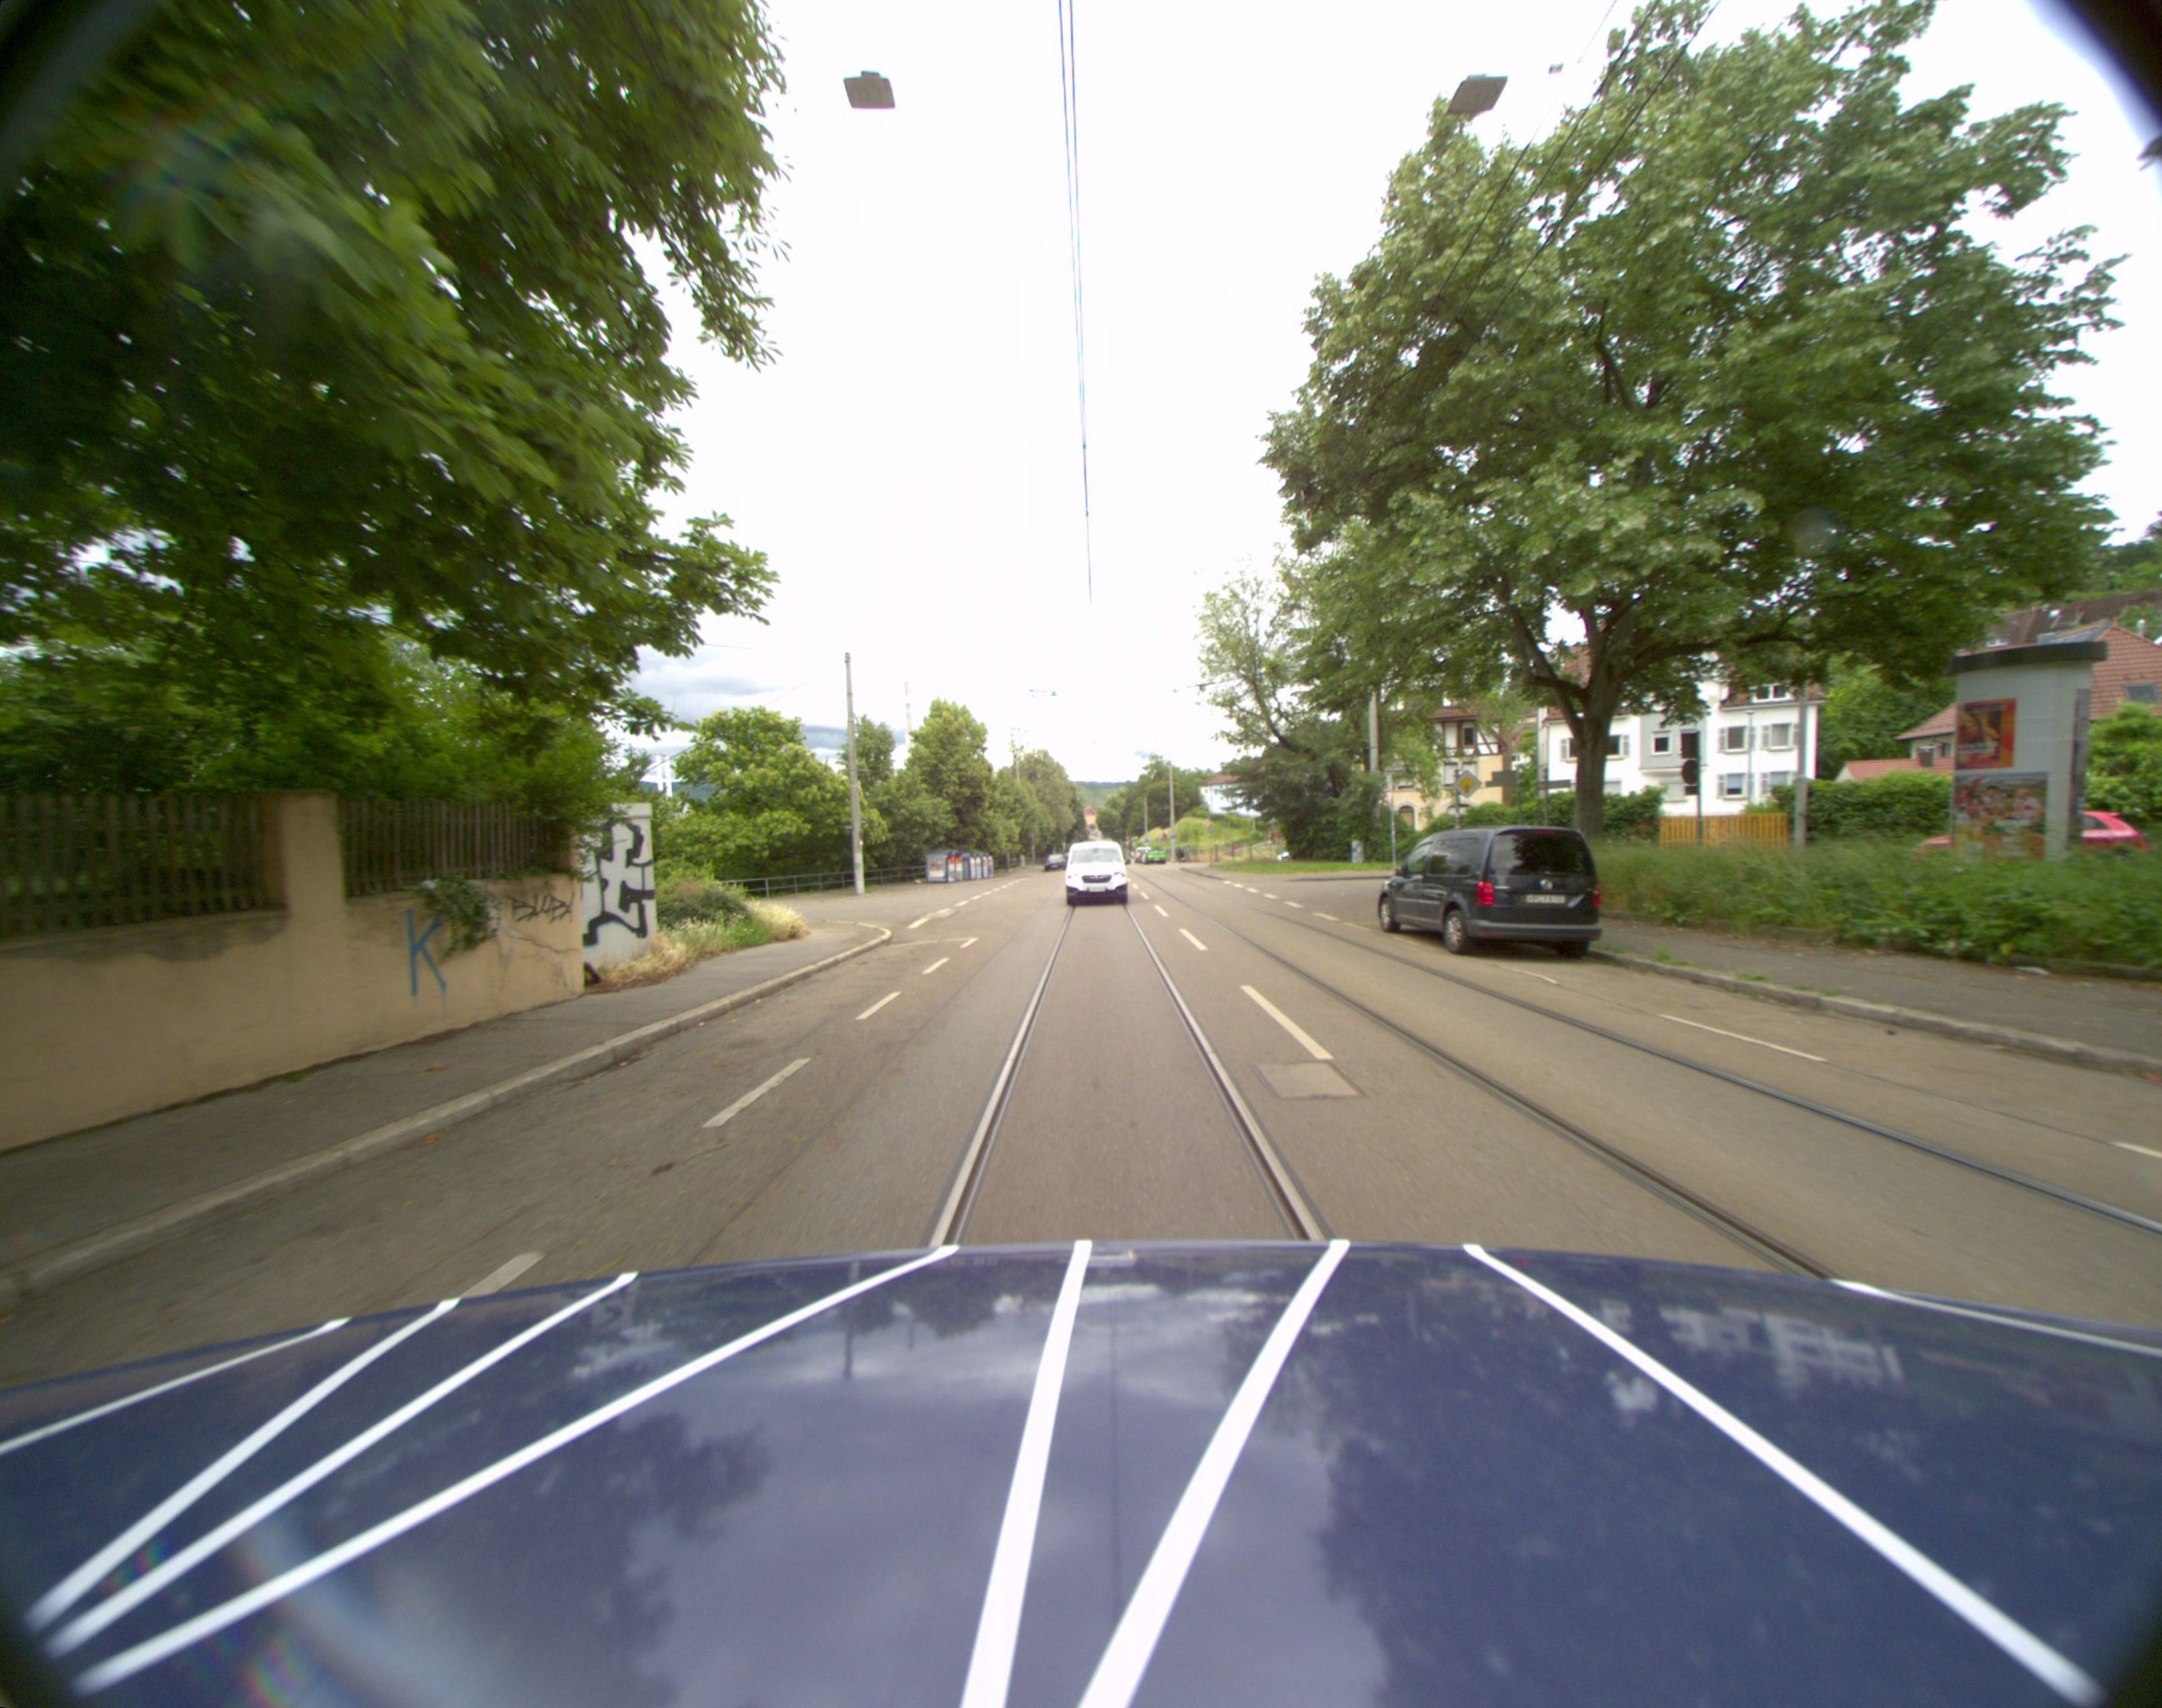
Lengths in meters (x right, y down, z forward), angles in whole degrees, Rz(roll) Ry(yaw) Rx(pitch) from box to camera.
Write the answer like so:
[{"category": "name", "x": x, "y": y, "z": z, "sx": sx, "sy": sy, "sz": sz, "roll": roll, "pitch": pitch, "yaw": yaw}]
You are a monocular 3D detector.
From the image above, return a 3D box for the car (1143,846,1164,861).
[{"category": "car", "x": 7.404, "y": -0.053, "z": 78.324, "sx": 1.856, "sy": 1.485, "sz": 3.948, "roll": 0, "pitch": 1, "yaw": 1}]

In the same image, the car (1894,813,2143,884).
[{"category": "car", "x": 22.111, "y": -0.095, "z": 18.050, "sx": 1.753, "sy": 1.469, "sz": 3.605, "roll": -4, "pitch": 1, "yaw": -35}]

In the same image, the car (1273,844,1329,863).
[{"category": "car", "x": 17.248, "y": -0.048, "z": 59.649, "sx": 4.004, "sy": 1.370, "sz": 1.698, "roll": -1, "pitch": 1, "yaw": 25}]

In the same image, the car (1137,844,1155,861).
[{"category": "car", "x": 7.832, "y": -0.187, "z": 92.222, "sx": 1.901, "sy": 1.935, "sz": 4.290, "roll": 0, "pitch": 1, "yaw": 1}]

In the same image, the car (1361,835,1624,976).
[{"category": "car", "x": 6.100, "y": 0.628, "z": 12.035, "sx": 1.766, "sy": 1.765, "sz": 4.668, "roll": 1, "pitch": 1, "yaw": 3}]

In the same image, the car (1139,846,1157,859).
[{"category": "car", "x": 7.649, "y": -0.184, "z": 86.818, "sx": 1.856, "sy": 1.485, "sz": 3.948, "roll": 0, "pitch": 1, "yaw": 1}]

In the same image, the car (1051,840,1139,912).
[{"category": "car", "x": 0.529, "y": 0.550, "z": 22.144, "sx": 1.758, "sy": 1.824, "sz": 4.451, "roll": -2, "pitch": 1, "yaw": 11}]

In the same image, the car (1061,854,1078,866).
[{"category": "car", "x": -1.379, "y": 0.694, "z": 94.536, "sx": 1.822, "sy": 1.344, "sz": 3.940, "roll": -4, "pitch": 0, "yaw": 3}]

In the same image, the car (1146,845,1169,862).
[{"category": "car", "x": 7.253, "y": -0.053, "z": 72.498, "sx": 1.856, "sy": 1.532, "sz": 3.948, "roll": -2, "pitch": 0, "yaw": 1}]

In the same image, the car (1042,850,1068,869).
[{"category": "car", "x": -2.245, "y": 0.449, "z": 66.208, "sx": 1.863, "sy": 1.434, "sz": 4.388, "roll": -5, "pitch": 0, "yaw": 2}]
